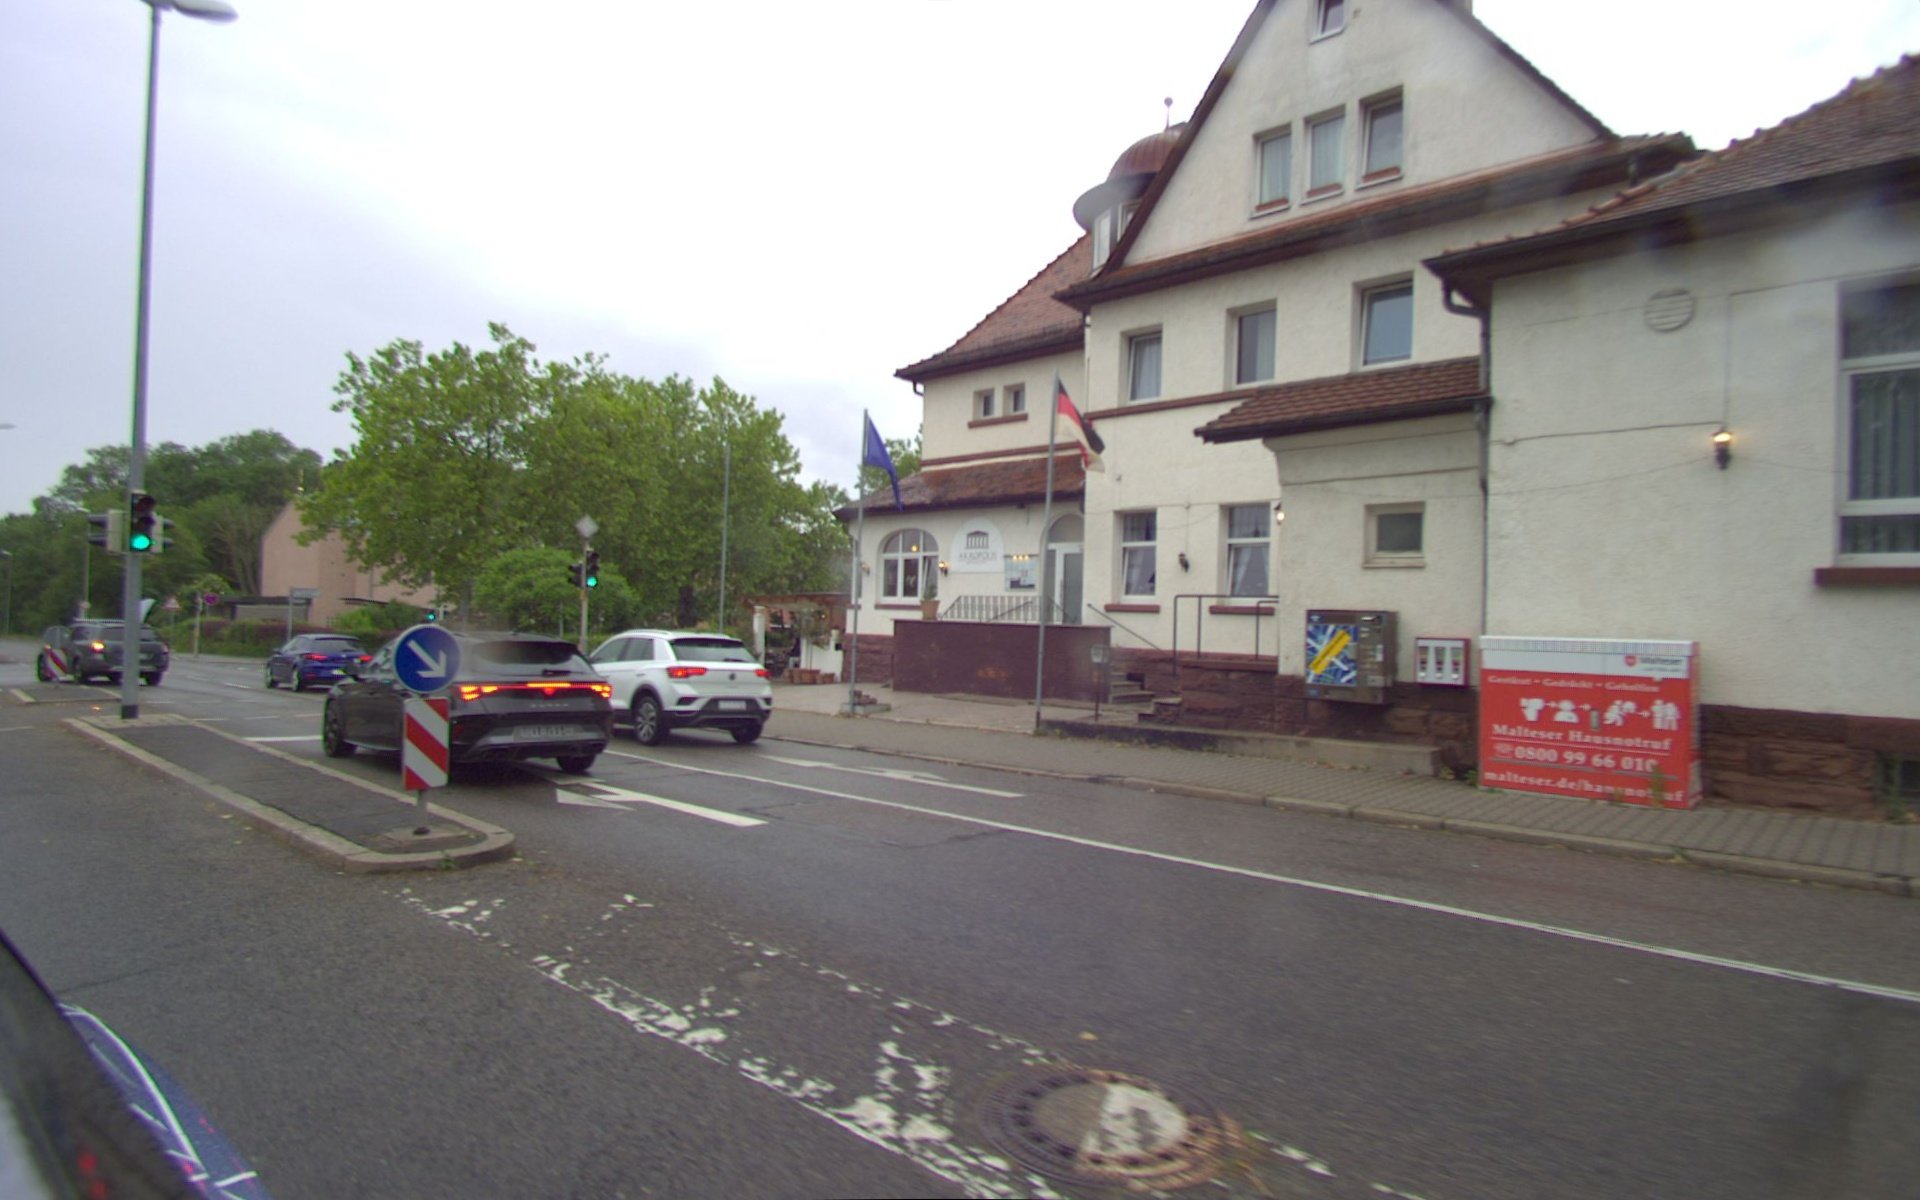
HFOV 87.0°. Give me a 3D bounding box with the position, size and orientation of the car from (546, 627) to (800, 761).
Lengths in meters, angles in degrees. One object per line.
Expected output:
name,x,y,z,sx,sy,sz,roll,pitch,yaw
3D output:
car,-4.324,1.304,14.932,1.970,1.697,4.004,4,-5,-43

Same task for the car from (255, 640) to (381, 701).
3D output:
car,-16.601,1.803,26.090,4.106,1.431,1.747,-2,-6,44

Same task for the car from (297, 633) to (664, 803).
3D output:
car,-5.248,1.111,10.815,4.386,1.440,1.972,-2,-5,42

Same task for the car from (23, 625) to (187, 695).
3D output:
car,-22.082,1.520,26.108,4.289,1.674,1.978,-1,-4,32

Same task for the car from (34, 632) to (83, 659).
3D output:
car,-58.842,2.963,66.028,4.304,1.674,1.971,-2,-4,44
